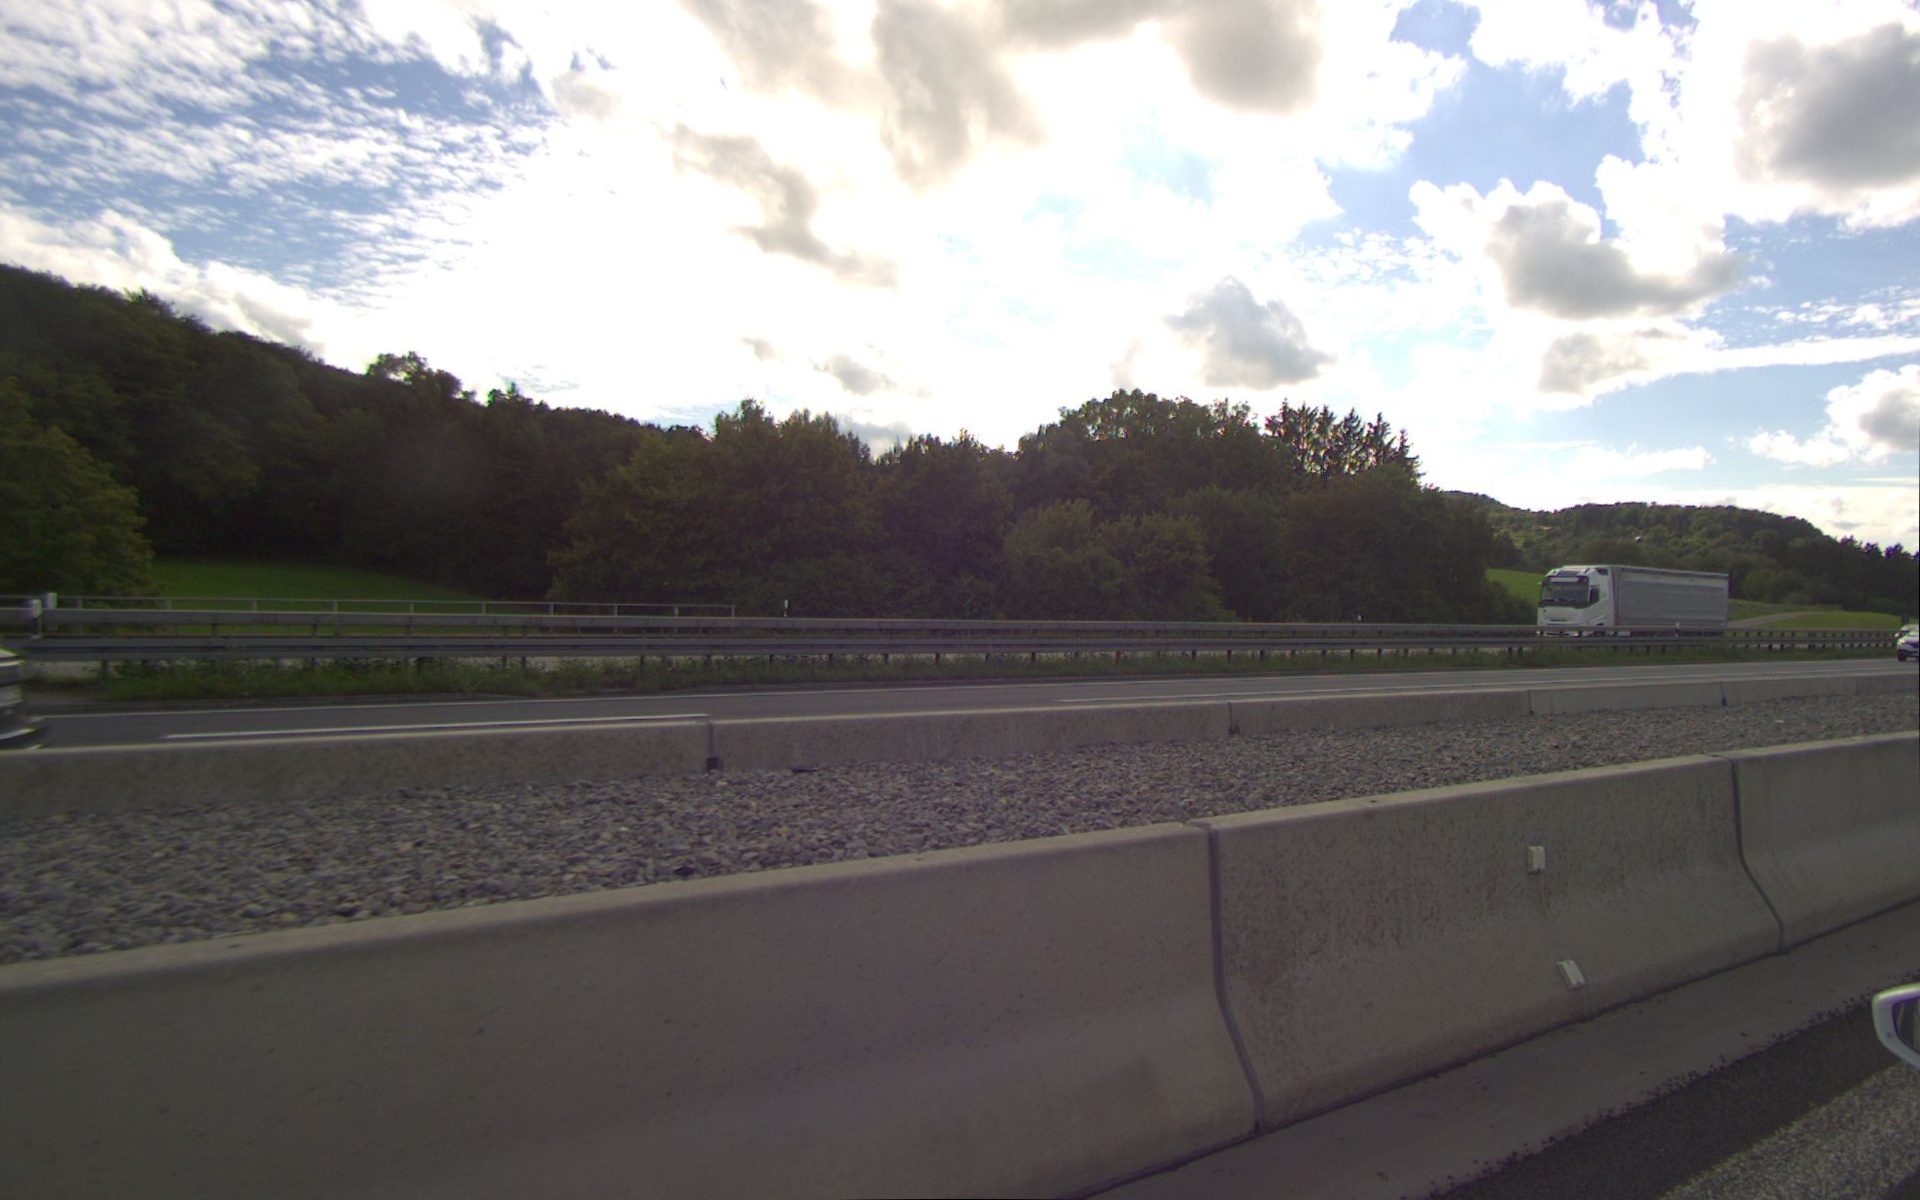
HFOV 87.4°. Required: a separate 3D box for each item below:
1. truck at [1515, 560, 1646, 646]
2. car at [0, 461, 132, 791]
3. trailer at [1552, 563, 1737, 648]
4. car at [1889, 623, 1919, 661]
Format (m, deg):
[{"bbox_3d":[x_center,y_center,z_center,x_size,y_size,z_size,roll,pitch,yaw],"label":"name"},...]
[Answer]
[{"bbox_3d":[31.501,0.203,50.930,6.216,4.120,3.135,2,0,-32],"label":"truck"},{"bbox_3d":[-7.121,0.059,4.654,4.784,1.652,1.741,2,0,-30],"label":"car"},{"bbox_3d":[37.403,0.409,54.617,13.236,4.148,3.135,2,0,-32],"label":"trailer"},{"bbox_3d":[44.461,1.923,45.806,4.698,1.652,1.789,2,0,-30],"label":"car"}]
